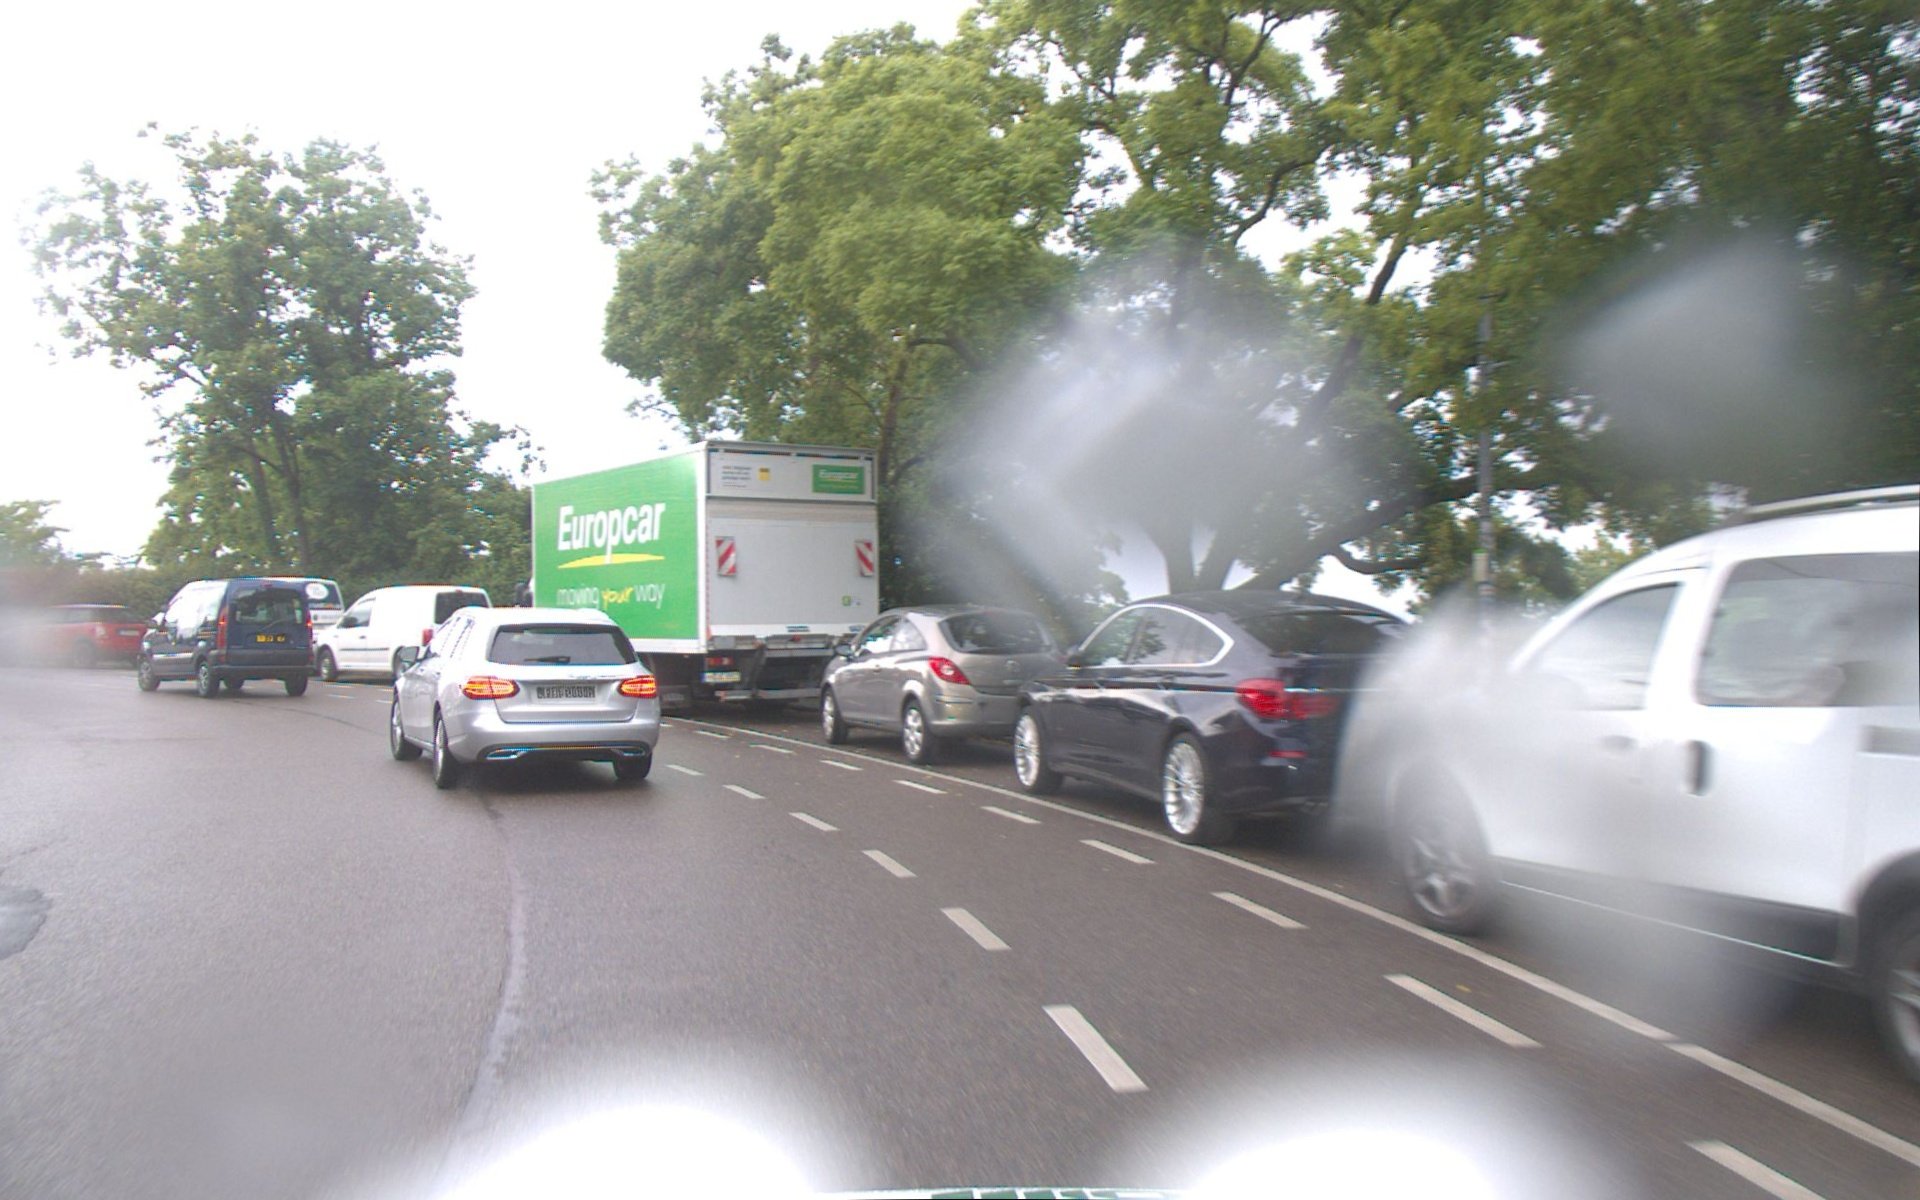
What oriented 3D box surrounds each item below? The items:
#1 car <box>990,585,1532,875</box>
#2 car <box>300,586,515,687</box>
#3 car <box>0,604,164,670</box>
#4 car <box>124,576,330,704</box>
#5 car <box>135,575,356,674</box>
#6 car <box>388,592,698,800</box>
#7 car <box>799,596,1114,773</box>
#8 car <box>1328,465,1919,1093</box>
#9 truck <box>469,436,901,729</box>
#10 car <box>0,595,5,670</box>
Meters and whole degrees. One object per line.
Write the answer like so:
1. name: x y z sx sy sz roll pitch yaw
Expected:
1. car: 1.817 0.730 11.864 1.830 1.569 4.873 -2 0 -16
2. car: -10.567 0.660 31.518 4.294 1.801 1.857 0 -1 38
3. car: -20.381 0.854 38.043 3.653 1.439 1.676 0 -2 22
4. car: -12.179 0.630 27.357 1.816 1.915 4.028 -2 1 -44
5. car: -15.146 0.501 34.998 4.702 1.982 1.862 0 -1 30
6. car: -3.907 0.745 14.936 1.958 1.581 4.263 0 -1 -25
7. car: -0.182 0.767 17.071 1.711 1.529 4.104 -2 0 -24
8. car: 3.282 0.504 6.359 1.718 1.853 4.404 -2 0 -16
9. truck: -4.411 -0.223 24.355 2.751 3.531 8.823 -1 0 -35
10. car: -21.251 0.723 33.167 4.005 1.484 1.856 -2 0 30
